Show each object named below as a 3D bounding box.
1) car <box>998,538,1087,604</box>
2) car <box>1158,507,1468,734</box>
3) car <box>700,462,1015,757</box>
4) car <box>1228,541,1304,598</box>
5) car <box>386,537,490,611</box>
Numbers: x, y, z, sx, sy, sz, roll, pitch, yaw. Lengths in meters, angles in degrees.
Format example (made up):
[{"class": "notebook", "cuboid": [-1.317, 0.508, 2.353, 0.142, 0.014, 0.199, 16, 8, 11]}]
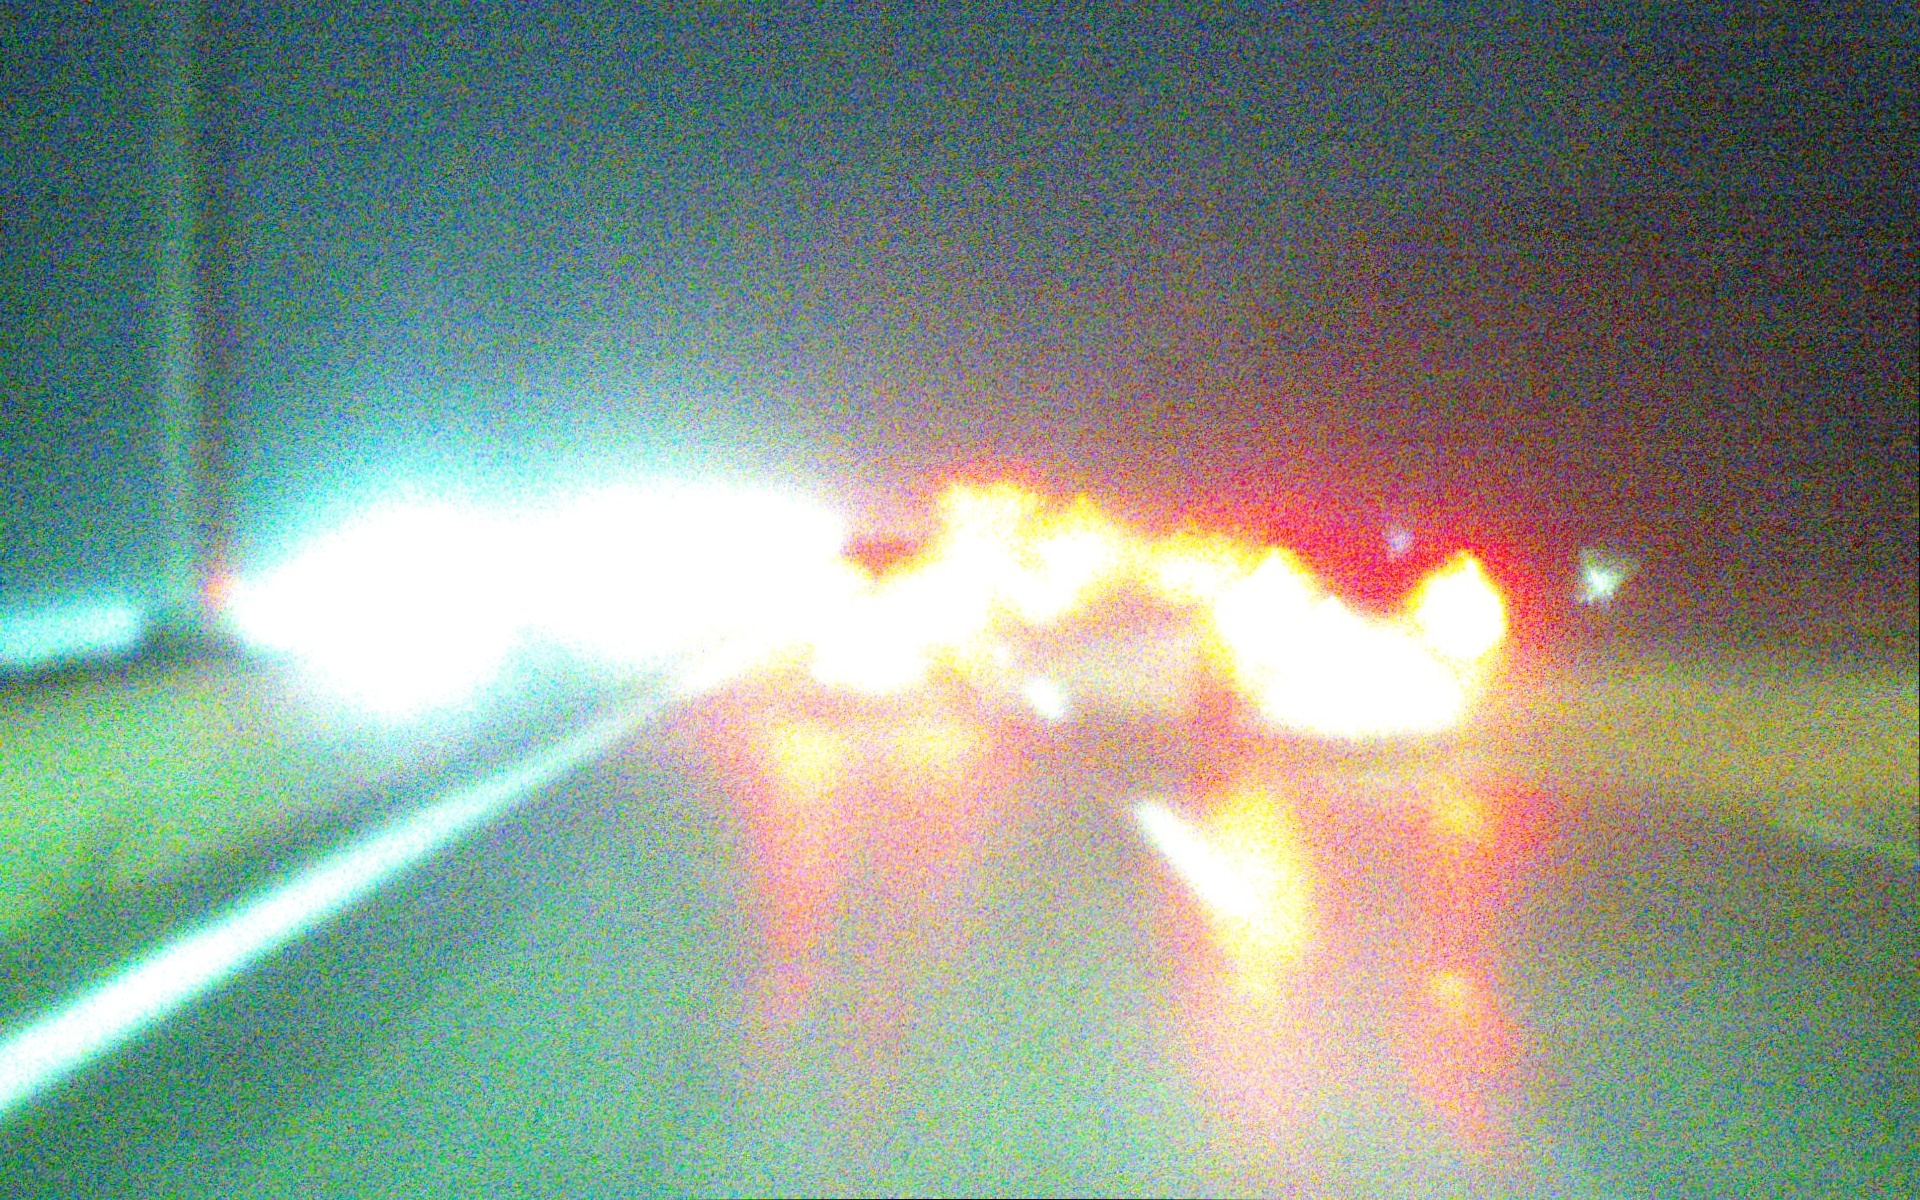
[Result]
[{"class": "car", "cuboid": [2.070, -0.742, 87.082, 2.137, 1.612, 4.000, 1, 1, 0]}, {"class": "car", "cuboid": [2.605, 0.109, 26.255, 1.884, 1.583, 4.000, 0, 1, -1]}, {"class": "car", "cuboid": [-1.020, 0.013, 33.451, 2.709, 2.525, 5.832, -2, 1, -2]}, {"class": "car", "cuboid": [8.936, -0.892, 100.740, 1.856, 1.612, 4.000, 1, 1, 0]}, {"class": "car", "cuboid": [-11.496, -0.582, 75.914, 1.710, 1.558, 4.296, -1, 1, -1]}]
